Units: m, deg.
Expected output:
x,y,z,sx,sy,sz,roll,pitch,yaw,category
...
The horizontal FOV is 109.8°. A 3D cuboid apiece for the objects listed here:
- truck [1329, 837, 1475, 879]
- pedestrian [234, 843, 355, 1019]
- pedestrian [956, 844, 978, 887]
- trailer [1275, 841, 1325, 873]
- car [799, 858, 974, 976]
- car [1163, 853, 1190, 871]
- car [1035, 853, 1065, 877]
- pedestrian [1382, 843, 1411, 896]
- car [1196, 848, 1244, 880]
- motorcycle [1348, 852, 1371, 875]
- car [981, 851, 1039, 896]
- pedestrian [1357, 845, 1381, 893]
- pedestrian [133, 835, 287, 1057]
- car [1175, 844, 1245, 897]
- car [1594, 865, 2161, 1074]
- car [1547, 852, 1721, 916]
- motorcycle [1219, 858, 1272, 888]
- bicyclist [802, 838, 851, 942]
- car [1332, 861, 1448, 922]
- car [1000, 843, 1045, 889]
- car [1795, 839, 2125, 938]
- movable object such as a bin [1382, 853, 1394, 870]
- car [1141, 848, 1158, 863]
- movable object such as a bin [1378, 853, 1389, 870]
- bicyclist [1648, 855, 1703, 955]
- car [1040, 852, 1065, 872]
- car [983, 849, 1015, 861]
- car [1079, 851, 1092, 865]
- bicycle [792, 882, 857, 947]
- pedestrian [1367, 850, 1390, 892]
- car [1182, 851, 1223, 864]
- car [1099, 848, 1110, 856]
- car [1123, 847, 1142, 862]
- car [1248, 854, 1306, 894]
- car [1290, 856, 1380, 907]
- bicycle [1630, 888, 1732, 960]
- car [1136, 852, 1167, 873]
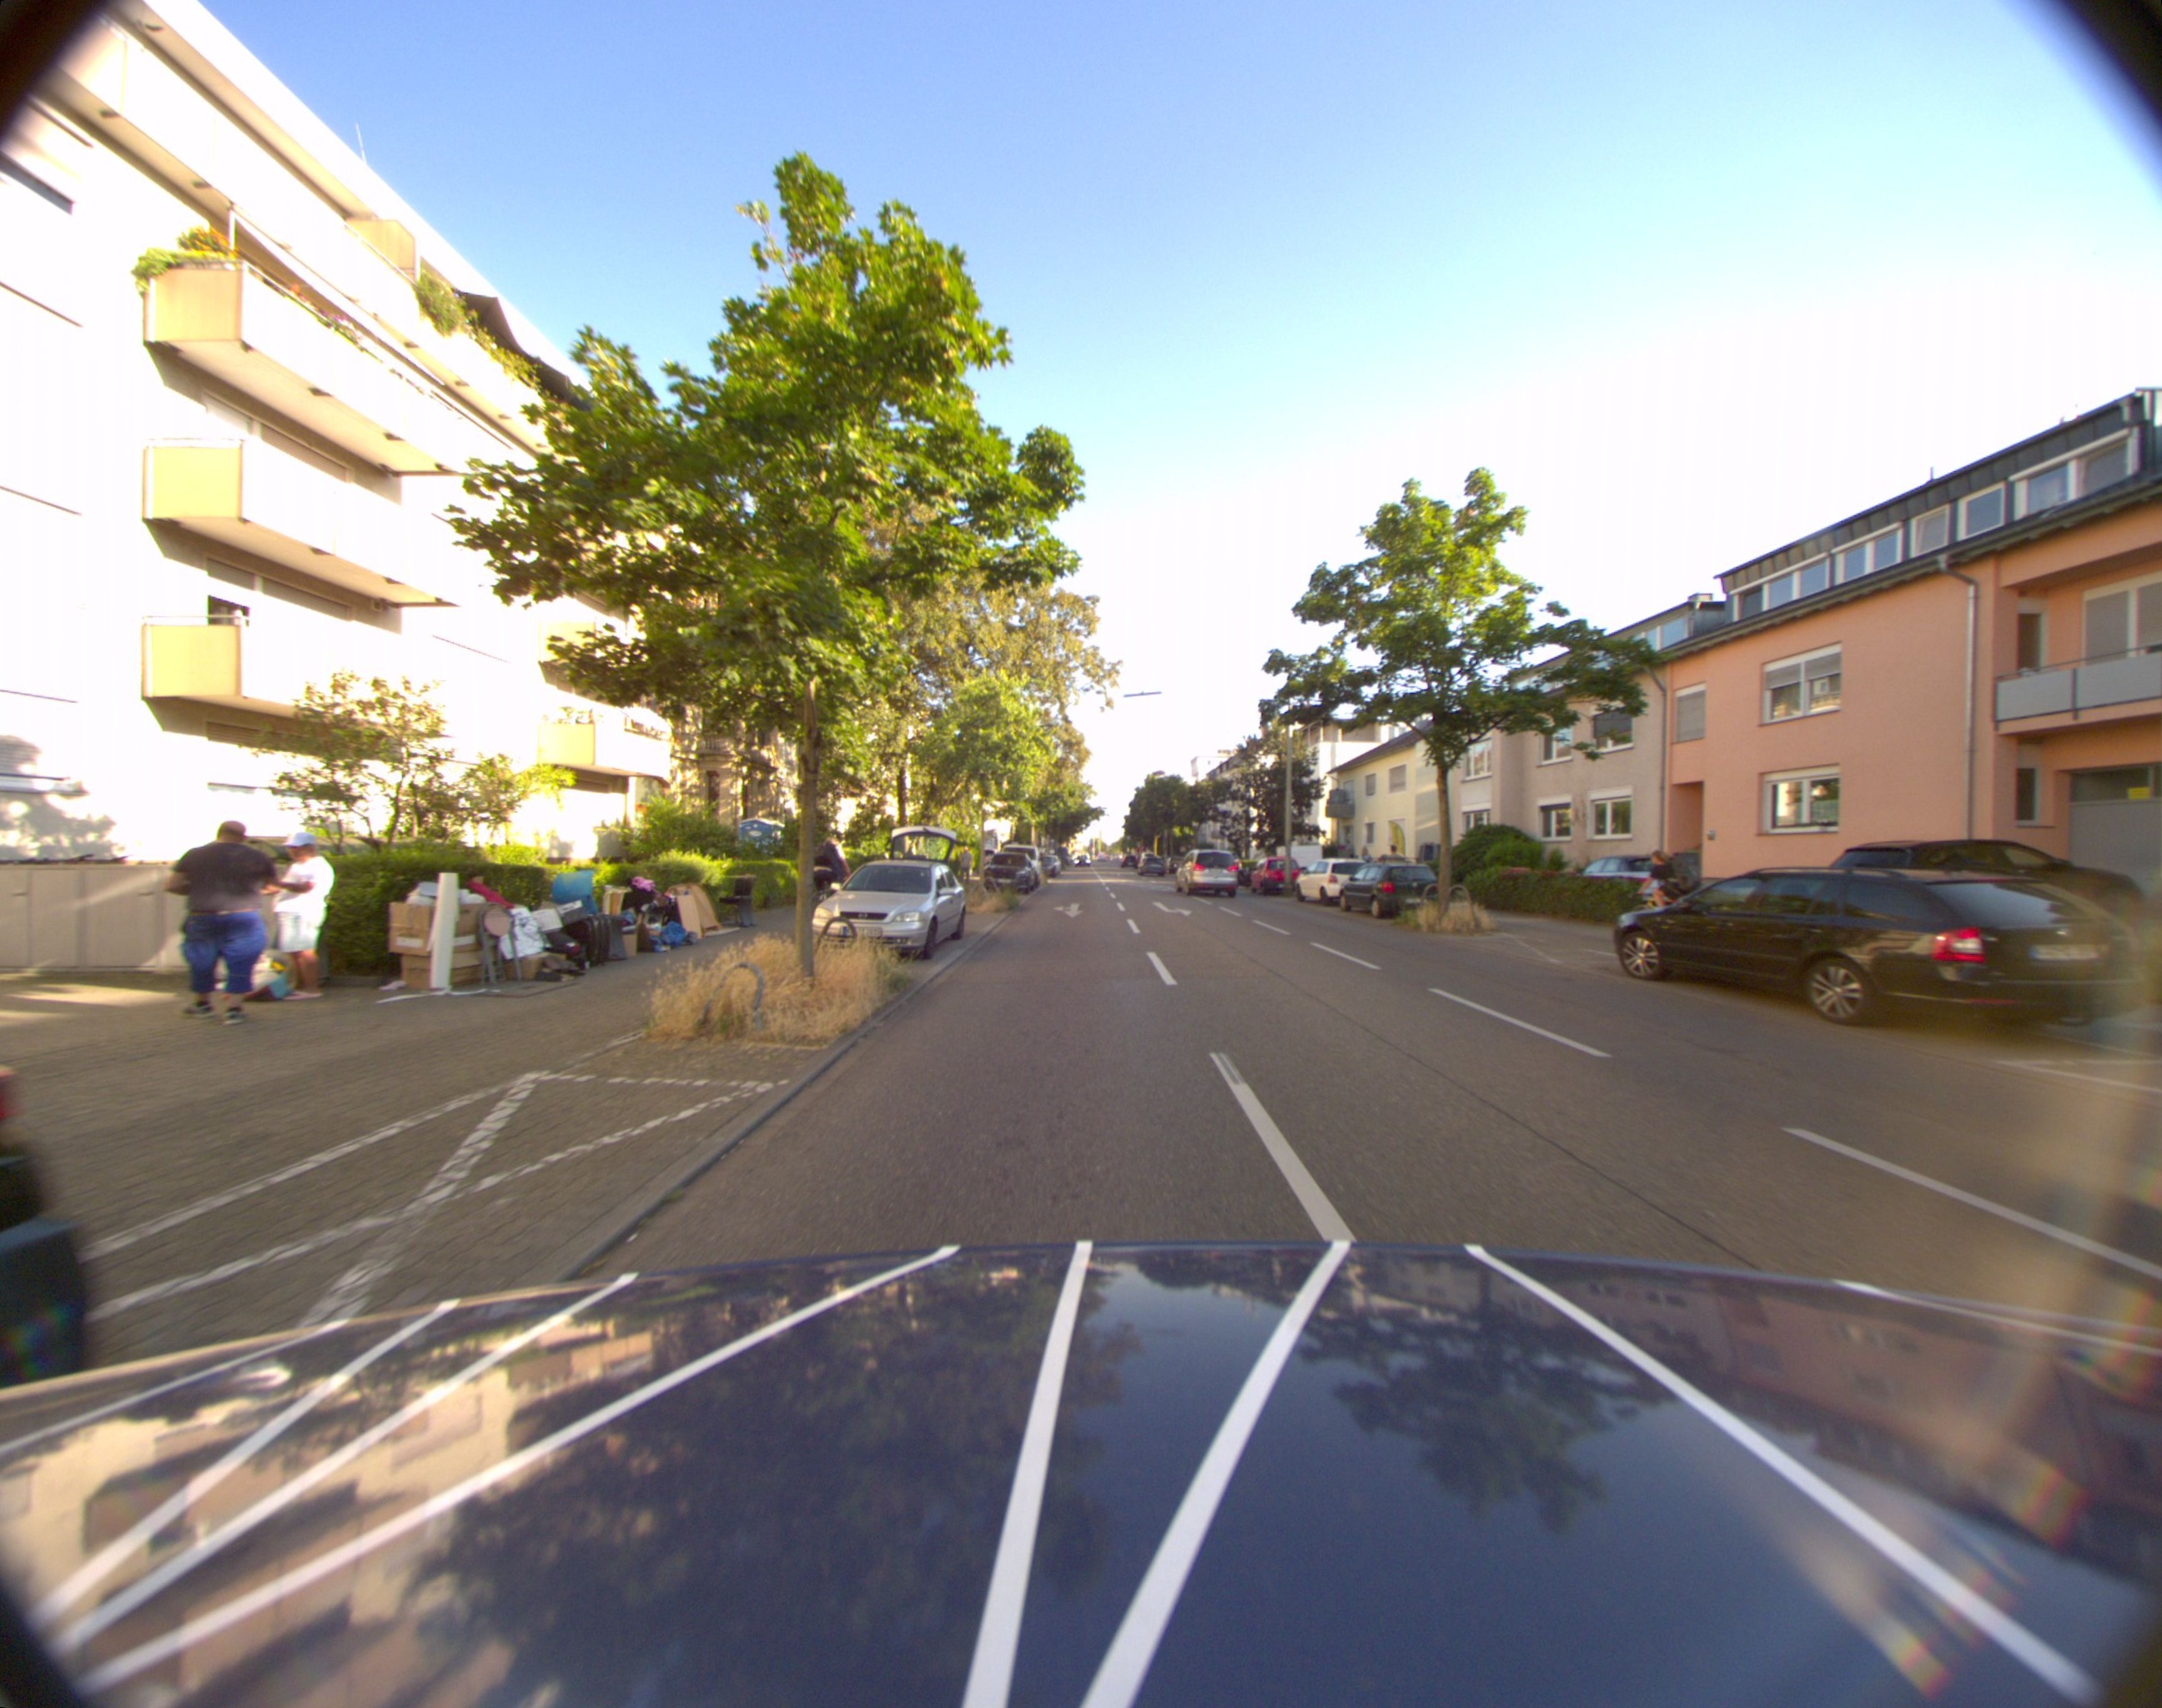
x,y,z,sx,sy,sz,roll,pitch,yaw,category
17.291,0.210,41.169,6.912,2.172,2.276,0,1,0,truck
-7.296,0.664,7.057,0.592,1.531,0.697,1,1,37,pedestrian
-4.859,0.479,32.412,0.823,1.763,1.088,0,1,-4,pedestrian
14.119,0.190,49.113,2.780,2.002,1.552,0,1,-2,trailer
-2.914,0.864,12.351,1.712,1.472,4.268,2,0,0,car
7.945,0.630,63.378,1.641,1.399,4.443,0,0,0,car
-2.045,0.704,51.280,1.762,1.412,4.614,2,0,0,car
10.766,0.526,25.936,0.715,1.782,0.572,1,1,3,pedestrian
8.154,0.541,45.081,1.892,1.769,4.725,0,0,-1,car
17.311,0.570,47.272,0.572,1.366,2.258,1,1,0,motorcycle
-2.786,0.711,30.563,1.860,1.594,4.311,3,0,0,car
10.731,0.553,28.324,0.715,1.782,0.506,1,1,3,pedestrian
-6.973,0.674,6.093,0.694,1.630,0.759,1,1,37,pedestrian
4.870,0.572,29.325,1.810,1.794,4.745,2,0,0,car
7.934,0.924,8.121,1.872,1.486,4.517,-1,0,1,car
13.610,0.676,18.993,1.669,1.401,3.753,1,0,2,car
7.548,0.857,35.025,1.184,1.259,2.365,0,1,-24,motorcycle
-4.474,0.621,13.405,0.582,1.778,0.852,0,1,0,bicyclist
8.001,0.924,20.011,1.547,1.388,3.665,0,0,0,car
-2.749,0.524,36.505,1.908,2.091,4.640,0,0,-1,car
16.372,0.600,14.328,3.996,1.626,1.866,-2,1,1,car
18.294,0.439,45.303,0.504,1.013,0.450,1,1,-1,movable object such as a bin
8.383,0.178,93.776,1.740,1.799,4.191,0,0,0,car
18.255,0.437,45.835,0.504,1.013,0.450,1,1,-1,movable object such as a bin
10.028,0.851,12.839,0.470,1.653,0.552,0,1,0,bicyclist
-2.250,0.612,60.939,1.826,1.469,4.621,0,0,1,car
-10.013,0.146,93.305,3.878,1.496,1.575,0,1,-5,car
0.519,0.439,94.509,1.596,1.696,3.999,0,0,0,car
-4.460,1.022,13.331,0.517,0.981,1.831,0,0,1,bicycle
10.629,0.611,27.169,0.591,1.487,0.542,1,1,3,pedestrian
14.740,0.383,92.176,4.564,1.397,1.739,-2,1,-10,car
5.047,-0.416,162.964,1.893,1.793,4.430,2,0,-1,car
5.821,0.009,86.543,1.840,1.561,3.999,2,1,0,car
7.894,0.760,30.843,1.596,1.514,3.437,0,0,3,car
8.194,0.835,24.880,1.597,1.514,3.890,0,0,-1,car
10.071,1.147,12.823,0.487,1.058,1.534,0,1,0,bicycle
5.251,0.609,56.756,1.765,1.443,4.533,2,0,-1,car
